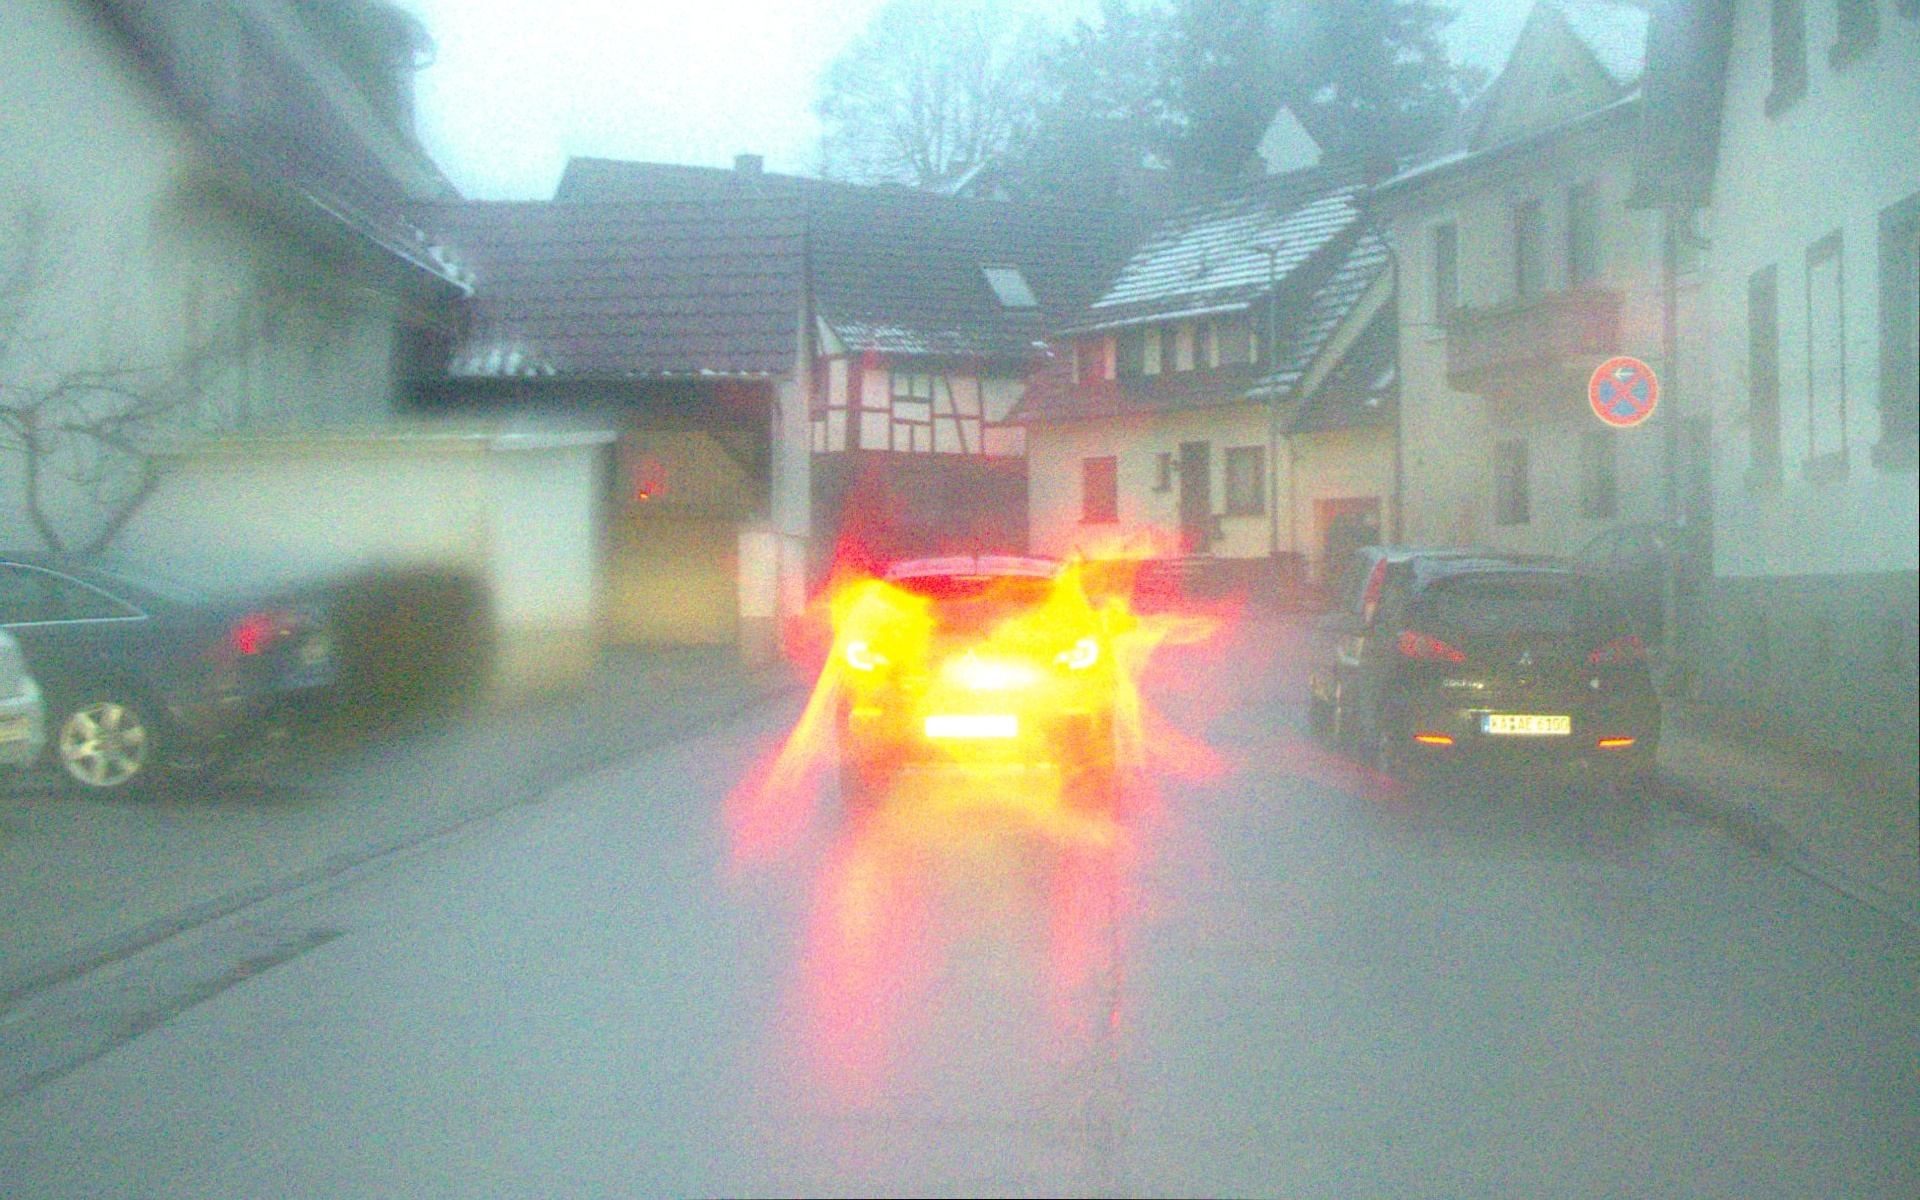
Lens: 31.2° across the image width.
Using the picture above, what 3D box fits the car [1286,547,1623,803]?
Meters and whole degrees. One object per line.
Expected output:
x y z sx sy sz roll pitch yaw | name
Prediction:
3.105 0.412 22.265 1.638 1.466 4.000 1 1 1 | car

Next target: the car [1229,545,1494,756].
3.066 0.335 26.939 1.638 1.489 4.000 1 1 1 | car

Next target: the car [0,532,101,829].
-6.980 0.408 17.645 4.604 1.465 1.891 0 1 8 | car

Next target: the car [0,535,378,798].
-5.957 0.372 20.366 4.594 1.465 2.000 0 1 4 | car

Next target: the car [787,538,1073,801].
-0.112 0.360 21.383 1.546 1.461 3.698 1 1 3 | car
